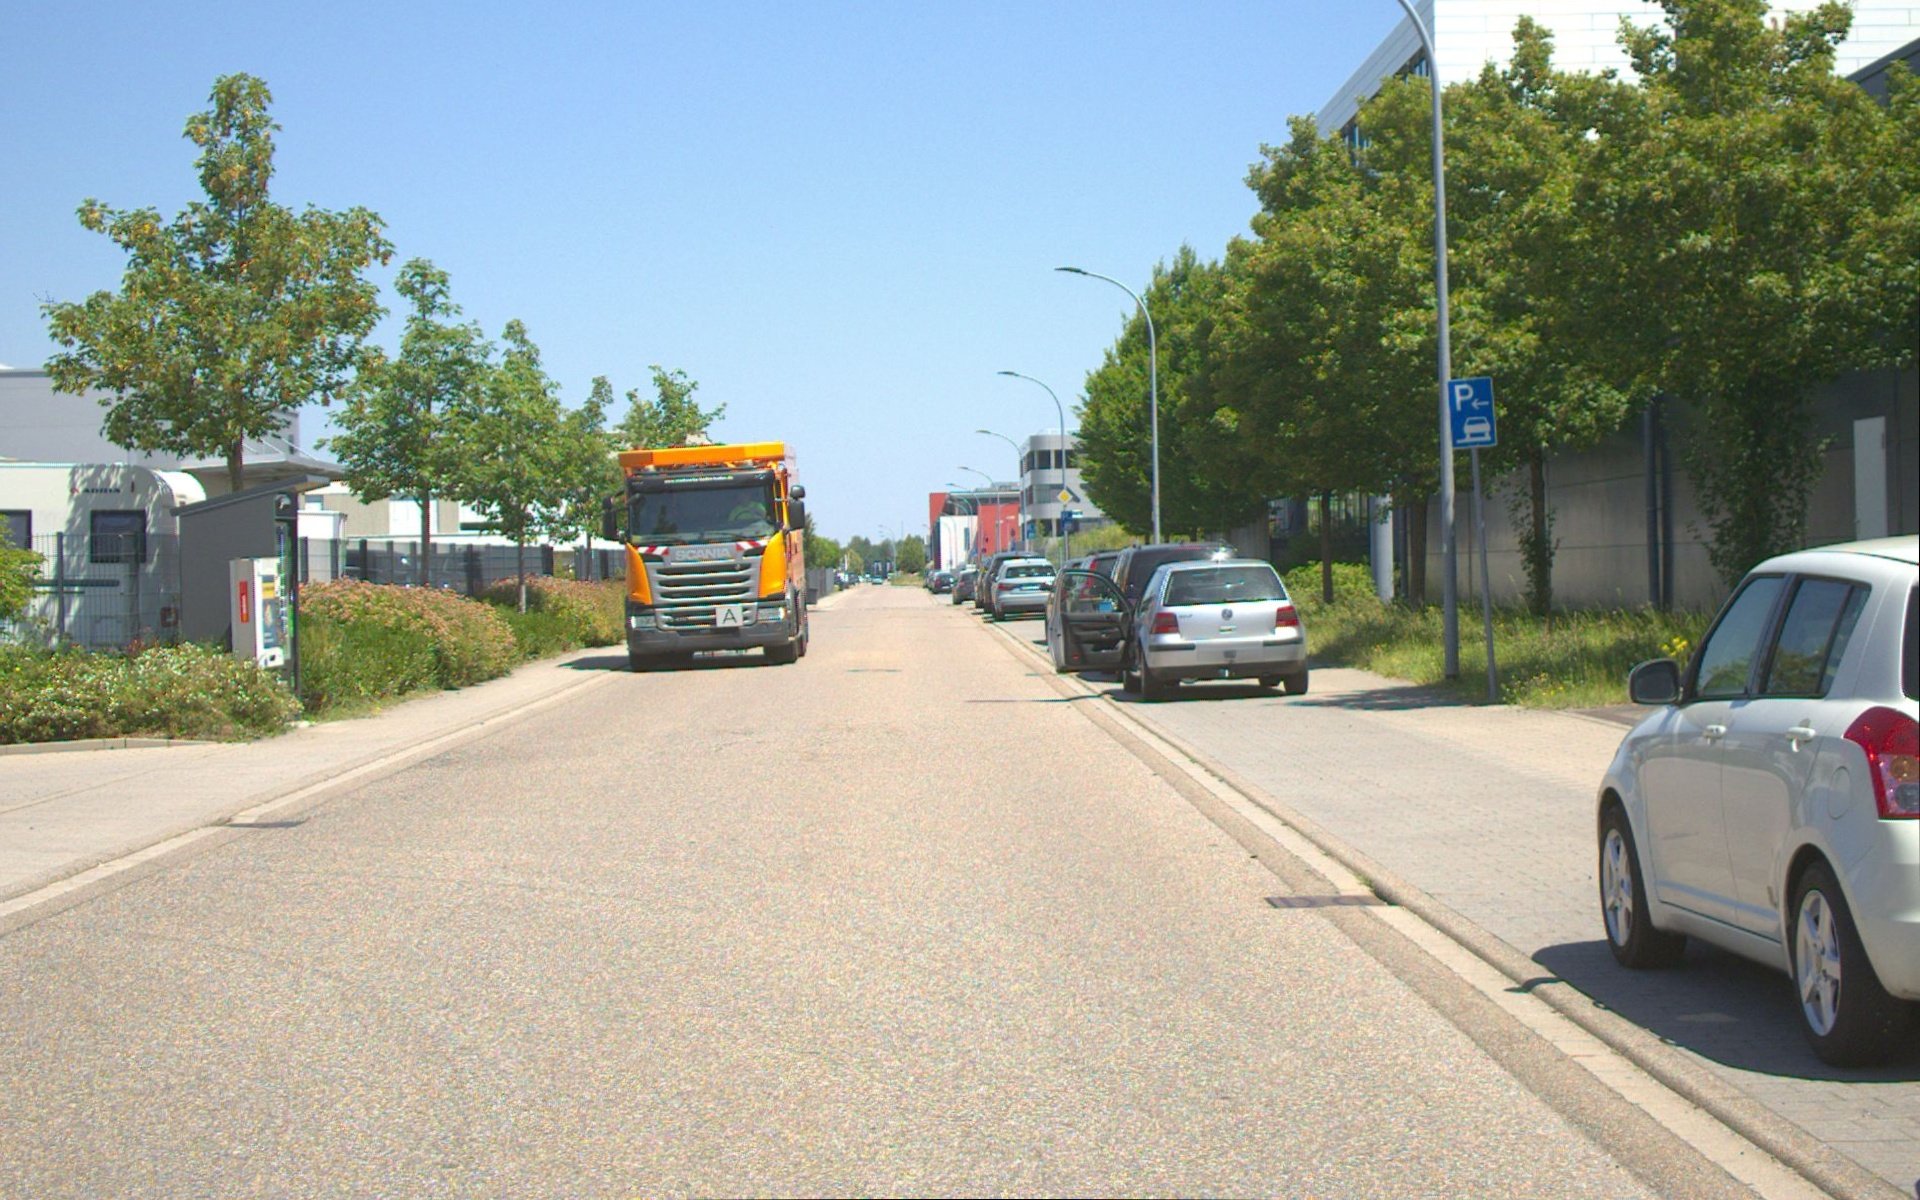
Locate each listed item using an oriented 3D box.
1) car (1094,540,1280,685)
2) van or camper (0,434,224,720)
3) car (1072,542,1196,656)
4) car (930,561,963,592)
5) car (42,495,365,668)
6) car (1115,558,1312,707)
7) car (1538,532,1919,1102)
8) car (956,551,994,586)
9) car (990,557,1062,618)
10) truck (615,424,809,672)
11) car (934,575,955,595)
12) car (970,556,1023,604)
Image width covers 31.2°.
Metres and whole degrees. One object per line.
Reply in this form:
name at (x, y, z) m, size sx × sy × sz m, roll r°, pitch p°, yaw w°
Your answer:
car at (2.764, 0.114, 42.709) m, size 1.678 × 1.680 × 4.001 m, roll -2°, pitch 1°, yaw -5°
van or camper at (-12.240, -0.200, 38.403) m, size 7.384 × 3.027 × 2.790 m, roll -2°, pitch 1°, yaw -1°
car at (2.722, -0.054, 54.456) m, size 1.721 × 1.688 × 3.984 m, roll -1°, pitch 1°, yaw 0°
car at (-0.658, -1.109, 163.893) m, size 1.495 × 1.405 × 3.500 m, roll -2°, pitch 1°, yaw -1°
car at (-11.989, -0.311, 54.716) m, size 4.714 × 2.577 × 2.000 m, roll -2°, pitch 1°, yaw -4°
car at (2.649, 0.308, 36.656) m, size 1.718 × 1.445 × 3.646 m, roll -2°, pitch 1°, yaw -1°
car at (3.125, 0.538, 11.089) m, size 1.636 × 1.464 × 3.746 m, roll -2°, pitch 1°, yaw -3°
car at (0.643, -1.359, 147.989) m, size 1.495 × 1.405 × 3.500 m, roll -2°, pitch 1°, yaw -1°
car at (1.588, -0.323, 83.677) m, size 1.585 × 1.405 × 3.500 m, roll -2°, pitch 1°, yaw -1°
truck at (-3.789, -0.846, 54.159) m, size 2.448 × 3.501 × 8.273 m, roll -3°, pitch 1°, yaw -1°
car at (-1.168, -1.151, 259.044) m, size 1.495 × 1.405 × 3.500 m, roll -2°, pitch 1°, yaw -1°
car at (1.114, -0.621, 106.848) m, size 1.495 × 1.405 × 3.500 m, roll -2°, pitch 1°, yaw -1°
